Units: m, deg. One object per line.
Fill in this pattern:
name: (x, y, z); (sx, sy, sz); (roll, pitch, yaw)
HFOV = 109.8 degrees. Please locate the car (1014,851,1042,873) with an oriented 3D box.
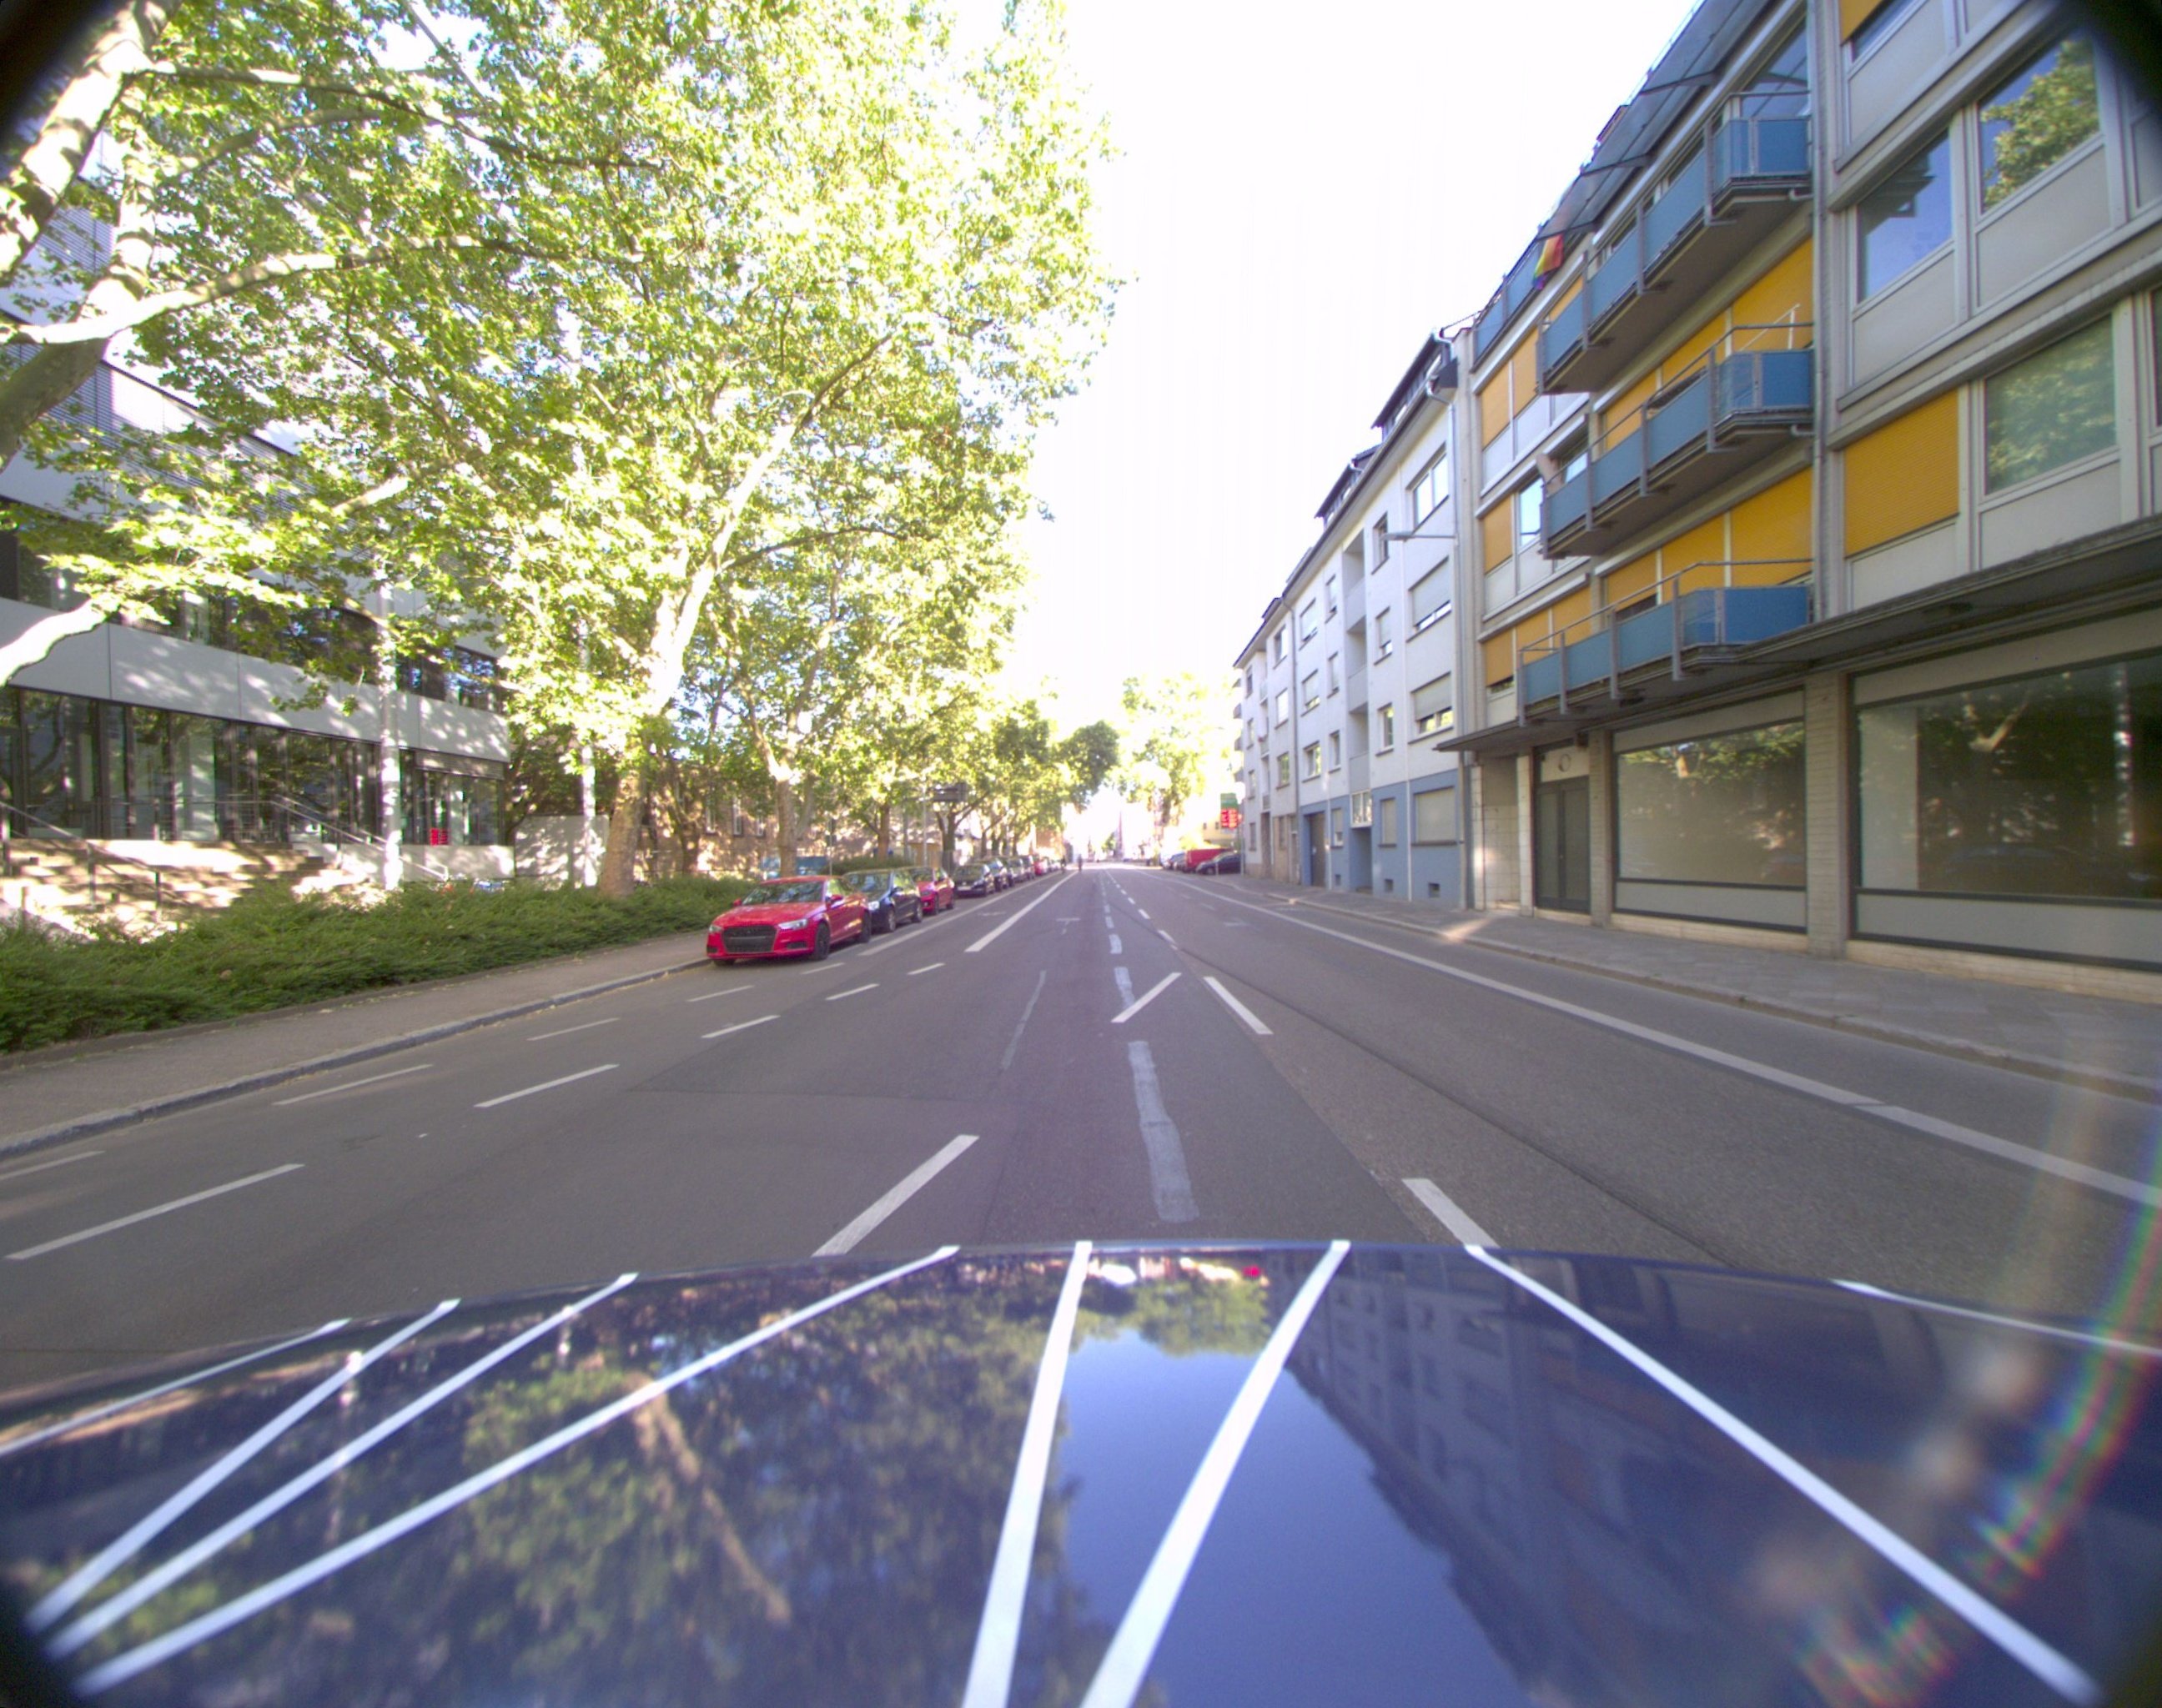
car: (-4.591, 0.700, 66.094); (2.042, 1.745, 4.552); (-3, 0, 0)

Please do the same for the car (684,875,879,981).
car: (-5.138, 1.192, 13.721); (1.818, 1.405, 4.163); (-3, 0, 0)

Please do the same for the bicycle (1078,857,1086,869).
bicycle: (0.110, 0.864, 73.299); (0.717, 1.052, 2.485); (-2, 1, 1)

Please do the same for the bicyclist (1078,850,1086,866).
bicyclist: (0.085, 0.373, 73.171); (0.718, 1.573, 0.936); (-2, 1, 1)

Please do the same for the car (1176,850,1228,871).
car: (9.978, 0.527, 62.846); (3.996, 1.494, 1.761); (-2, 1, 2)

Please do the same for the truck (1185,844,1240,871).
truck: (10.368, 0.247, 59.993); (3.996, 1.925, 1.761); (-2, 1, 2)

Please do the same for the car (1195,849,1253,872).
car: (10.728, 0.481, 57.143); (3.996, 1.494, 1.761); (-2, 1, 2)

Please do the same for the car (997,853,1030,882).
car: (-4.446, 0.852, 50.705); (1.790, 1.745, 4.552); (-3, 0, 0)

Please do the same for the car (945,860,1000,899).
car: (-4.702, 1.077, 33.387); (1.790, 1.451, 4.163); (-3, 0, 0)

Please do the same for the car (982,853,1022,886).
car: (-4.524, 0.869, 44.150); (1.790, 1.745, 4.345); (-3, 0, 0)

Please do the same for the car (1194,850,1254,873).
car: (10.254, 0.547, 54.796); (3.996, 1.449, 1.761); (-2, 1, 2)

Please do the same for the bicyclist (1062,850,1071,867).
bicyclist: (-1.392, 0.438, 72.456); (0.718, 1.573, 0.936); (-2, 1, 1)

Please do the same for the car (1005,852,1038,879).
car: (-4.317, 0.797, 55.664); (2.042, 1.745, 4.552); (-3, 0, 0)

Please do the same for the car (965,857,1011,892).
car: (-4.601, 0.978, 38.133); (1.790, 1.544, 4.163); (-3, 0, 0)

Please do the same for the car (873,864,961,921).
car: (-5.030, 1.124, 23.861); (1.818, 1.475, 4.163); (-3, 0, 0)

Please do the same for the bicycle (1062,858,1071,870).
bicycle: (-1.374, 0.930, 72.500); (0.717, 1.052, 2.485); (-2, 1, 1)

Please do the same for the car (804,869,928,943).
car: (-5.083, 1.169, 18.577); (1.818, 1.405, 4.163); (-3, 0, 0)
